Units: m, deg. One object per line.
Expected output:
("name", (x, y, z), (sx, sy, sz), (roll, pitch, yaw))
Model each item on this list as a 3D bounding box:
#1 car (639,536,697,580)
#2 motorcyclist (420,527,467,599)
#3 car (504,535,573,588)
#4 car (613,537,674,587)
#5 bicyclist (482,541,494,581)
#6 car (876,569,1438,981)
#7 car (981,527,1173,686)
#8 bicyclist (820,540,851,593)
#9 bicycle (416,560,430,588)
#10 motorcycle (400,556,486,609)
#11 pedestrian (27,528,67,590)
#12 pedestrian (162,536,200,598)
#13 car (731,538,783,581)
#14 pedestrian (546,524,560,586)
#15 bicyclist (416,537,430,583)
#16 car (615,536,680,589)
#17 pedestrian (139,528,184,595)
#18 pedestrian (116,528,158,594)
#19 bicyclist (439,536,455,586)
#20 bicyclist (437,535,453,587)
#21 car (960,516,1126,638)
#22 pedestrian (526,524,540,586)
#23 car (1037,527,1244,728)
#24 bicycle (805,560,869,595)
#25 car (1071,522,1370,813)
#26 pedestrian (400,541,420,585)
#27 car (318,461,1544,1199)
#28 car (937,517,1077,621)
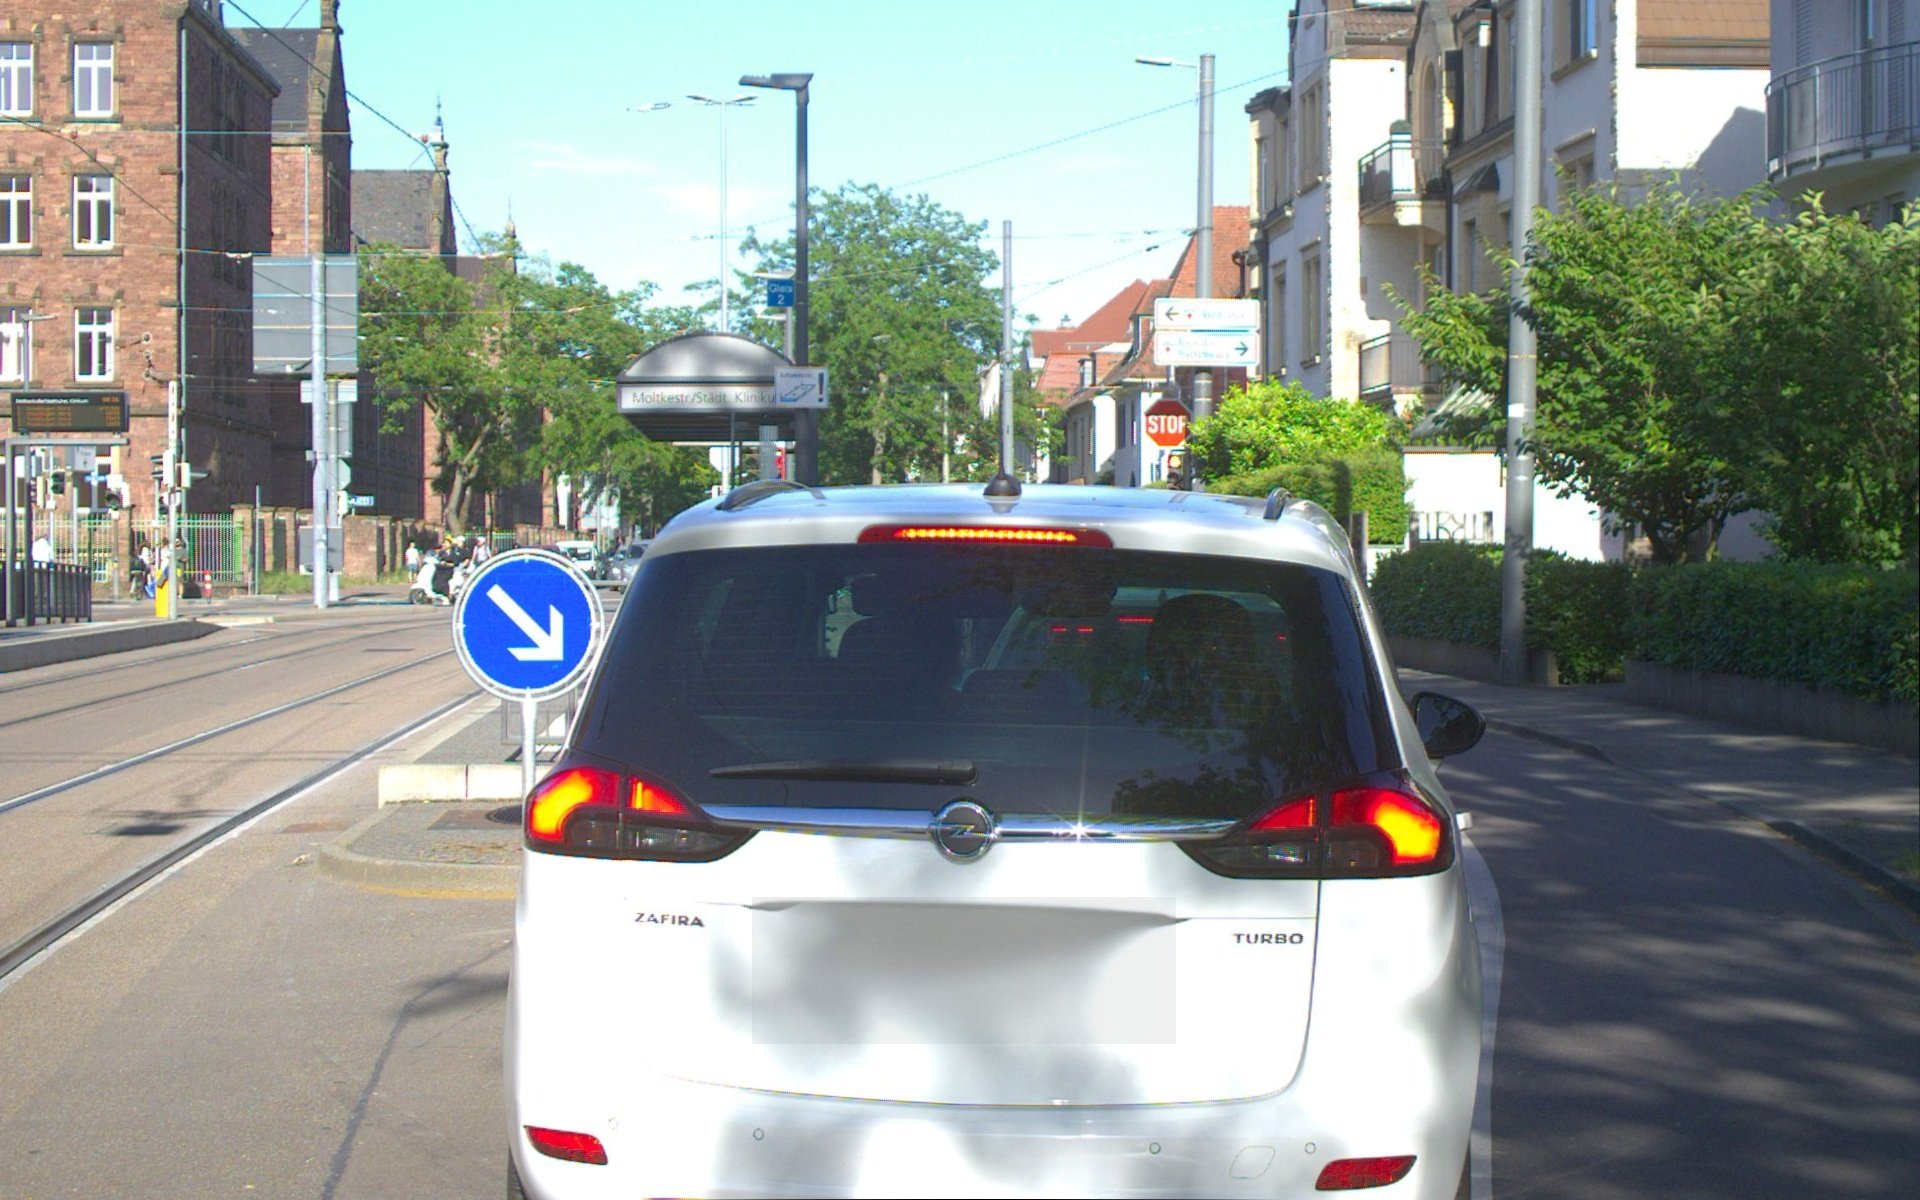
("car", (-11.077, -1.608, 130.651), (1.993, 1.623, 4.001), (0, 1, -2))
("motorcyclist", (-11.701, -0.843, 77.884), (0.615, 1.616, 0.843), (1, 1, 39))
("car", (-13.114, -1.220, 107.085), (1.993, 1.623, 4.001), (0, 1, -5))
("car", (-10.531, -1.265, 114.414), (1.993, 1.623, 4.001), (0, 1, -5))
("bicyclist", (-15.357, -1.277, 111.822), (0.359, 1.299, 0.398), (0, 1, -4))
("car", (0.744, 0.591, 13.980), (1.953, 1.392, 4.000), (0, 1, 2))
("car", (1.176, 0.029, 36.176), (1.830, 1.574, 4.010), (0, 1, -1))
("bicyclist", (-3.366, -0.910, 93.042), (0.759, 1.425, 0.516), (1, 0, 6))
("bicycle", (-17.984, -0.866, 115.137), (0.344, 0.946, 0.997), (1, 0, -4))
("motorcycle", (-11.704, -0.407, 77.897), (0.613, 1.194, 2.071), (1, 1, 39))
("pedestrian", (-23.299, -1.049, 87.757), (0.802, 1.583, 0.935), (1, 0, -3))
("pedestrian", (-21.648, -0.914, 95.570), (0.735, 1.708, 0.705), (1, 0, 22))
("car", (-7.928, -1.596, 134.256), (1.993, 1.623, 4.001), (0, 1, -4))
("pedestrian", (-13.292, -1.466, 112.251), (0.444, 2.007, 0.496), (0, 1, -4))
("bicyclist", (-17.979, -1.331, 115.094), (0.444, 1.548, 0.496), (0, 1, -4))
("car", (-9.734, -1.183, 107.308), (1.993, 1.623, 4.001), (0, 1, -5))
("pedestrian", (-20.205, -0.976, 87.021), (0.895, 1.678, 1.029), (1, 0, -1))
("pedestrian", (-21.158, -0.997, 88.409), (0.843, 1.686, 1.029), (1, 0, -1))
("bicyclist", (-15.890, -1.216, 106.563), (0.444, 1.548, 0.496), (0, 1, -4))
("bicyclist", (-15.472, -1.179, 103.281), (0.444, 1.548, 0.743), (0, 1, -4))
("car", (1.020, -0.314, 44.297), (1.993, 1.497, 4.000), (0, 1, -1))
("pedestrian", (-13.904, -1.471, 111.935), (0.444, 2.007, 0.496), (0, 1, -4))
("car", (1.493, 0.182, 29.253), (1.637, 1.595, 3.854), (0, 1, 2))
("bicycle", (-3.330, -0.607, 93.038), (1.670, 0.949, 0.529), (0, 1, 6))
("car", (1.492, 0.334, 20.825), (1.637, 1.595, 3.854), (0, 1, 2))
("pedestrian", (-21.756, -1.457, 136.032), (0.734, 1.708, 0.754), (1, 0, -6))
("car", (0.136, 0.585, 7.599), (1.994, 1.639, 3.992), (1, 1, 6))
("car", (0.667, -0.483, 51.757), (1.993, 1.497, 4.000), (0, 1, -1))
